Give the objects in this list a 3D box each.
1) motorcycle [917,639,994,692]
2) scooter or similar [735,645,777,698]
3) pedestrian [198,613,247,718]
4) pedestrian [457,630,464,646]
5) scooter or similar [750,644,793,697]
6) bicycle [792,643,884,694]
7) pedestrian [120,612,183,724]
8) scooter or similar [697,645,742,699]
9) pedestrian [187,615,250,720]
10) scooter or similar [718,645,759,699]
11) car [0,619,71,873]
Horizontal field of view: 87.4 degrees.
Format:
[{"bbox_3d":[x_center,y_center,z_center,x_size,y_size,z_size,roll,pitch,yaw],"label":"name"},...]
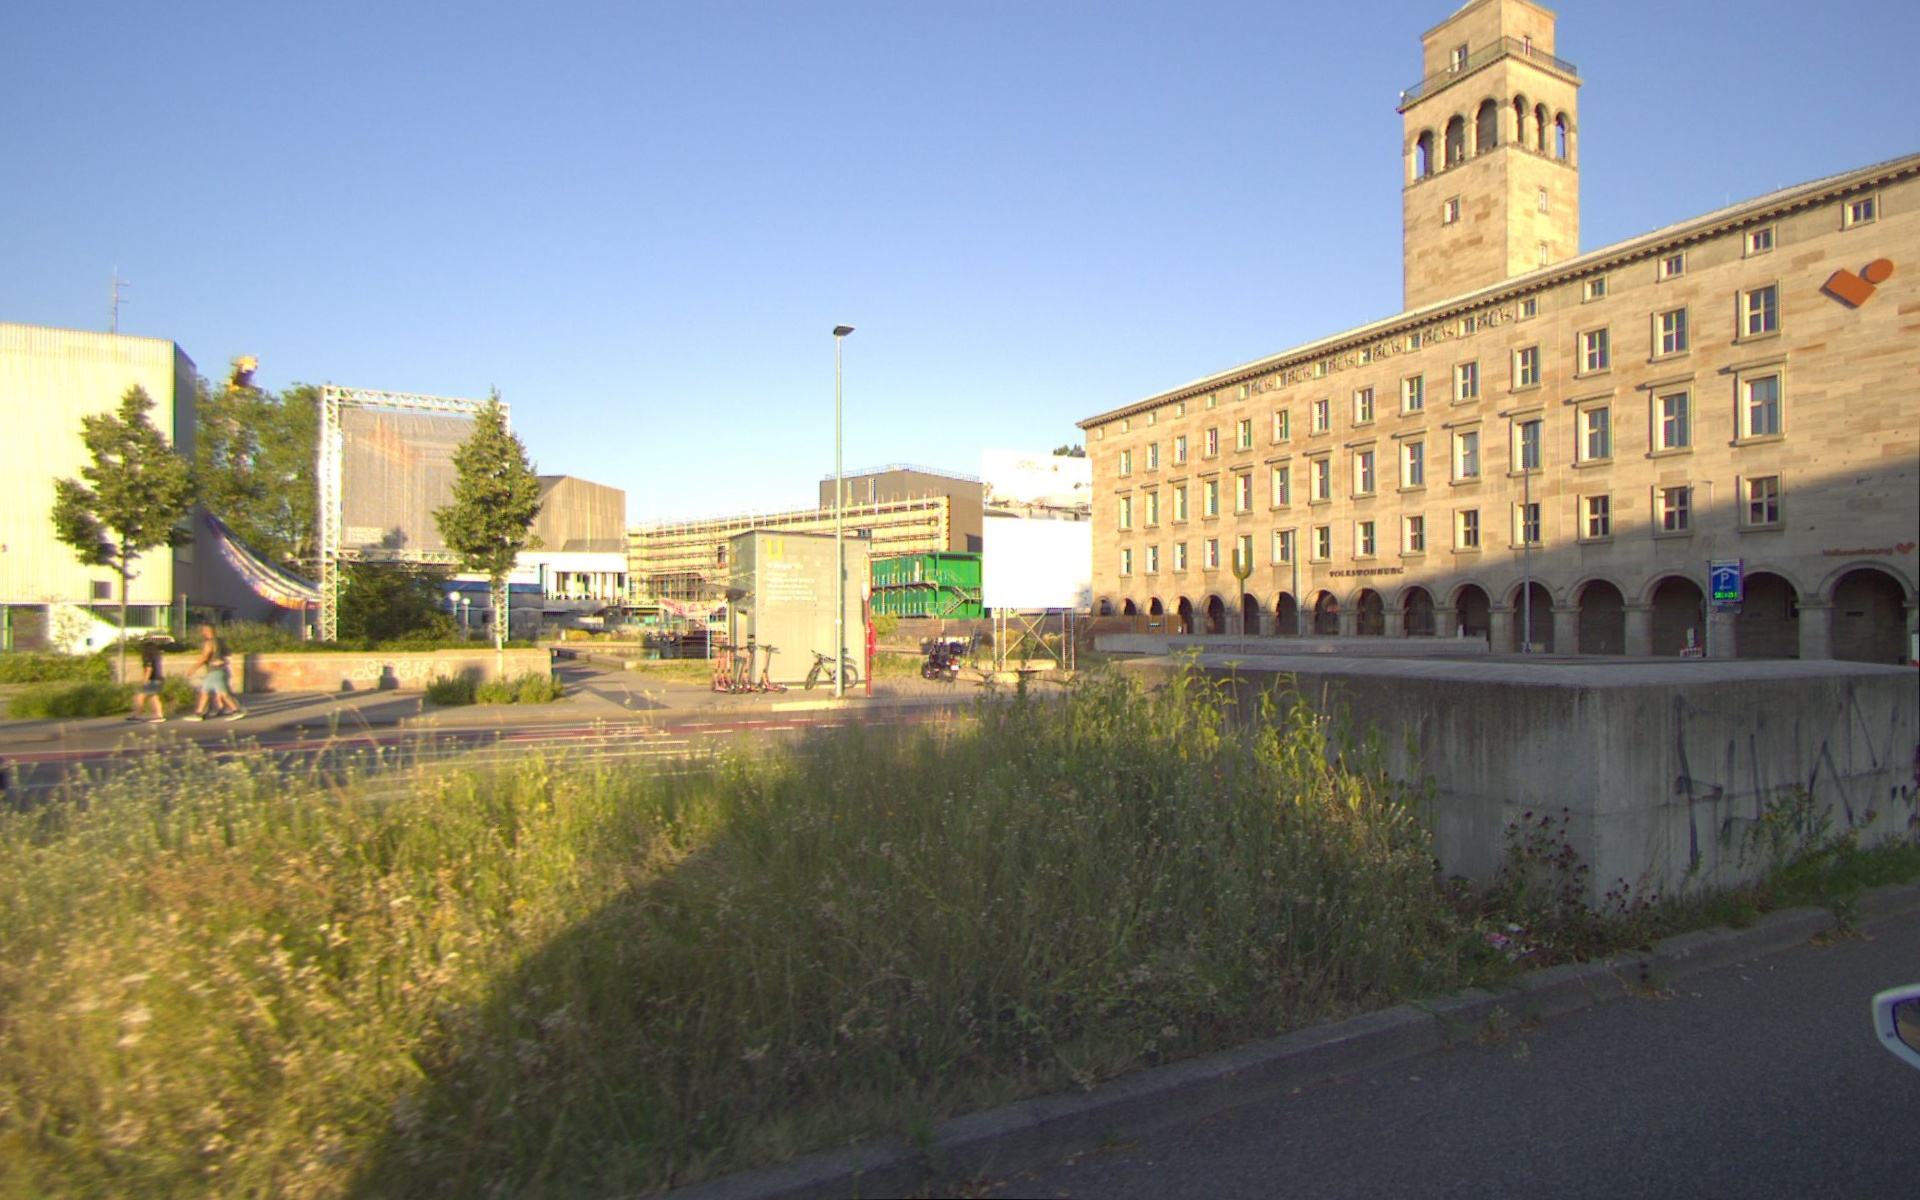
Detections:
[{"bbox_3d":[-0.187,1.922,30.249,0.830,1.401,3.218,1,-1,-29],"label":"motorcycle"},{"bbox_3d":[-5.348,1.841,26.244,0.419,1.322,1.819,1,-2,-34],"label":"scooter or similar"},{"bbox_3d":[-14.139,1.241,19.272,0.639,1.959,0.657,0,-1,-27],"label":"pedestrian"},{"bbox_3d":[-45.239,3.473,91.009,0.568,1.426,0.381,-1,-2,41],"label":"pedestrian"},{"bbox_3d":[-4.984,1.845,26.488,0.419,1.322,1.824,1,-2,-34],"label":"scooter or similar"},{"bbox_3d":[-3.334,1.856,27.598,2.480,1.341,0.614,1,-2,-31],"label":"bicycle"},{"bbox_3d":[-14.529,1.201,18.062,0.766,1.959,0.629,0,0,-27],"label":"pedestrian"},{"bbox_3d":[-6.154,1.816,25.680,0.495,1.322,1.847,1,-2,-34],"label":"scooter or similar"},{"bbox_3d":[-13.633,1.218,18.485,0.766,1.861,0.869,1,-2,-27],"label":"pedestrian"},{"bbox_3d":[-5.751,1.835,25.984,0.413,1.322,1.776,1,-2,-34],"label":"scooter or similar"},{"bbox_3d":[-7.729,0.824,5.088,4.483,1.485,1.878,1,-2,-30],"label":"car"}]
